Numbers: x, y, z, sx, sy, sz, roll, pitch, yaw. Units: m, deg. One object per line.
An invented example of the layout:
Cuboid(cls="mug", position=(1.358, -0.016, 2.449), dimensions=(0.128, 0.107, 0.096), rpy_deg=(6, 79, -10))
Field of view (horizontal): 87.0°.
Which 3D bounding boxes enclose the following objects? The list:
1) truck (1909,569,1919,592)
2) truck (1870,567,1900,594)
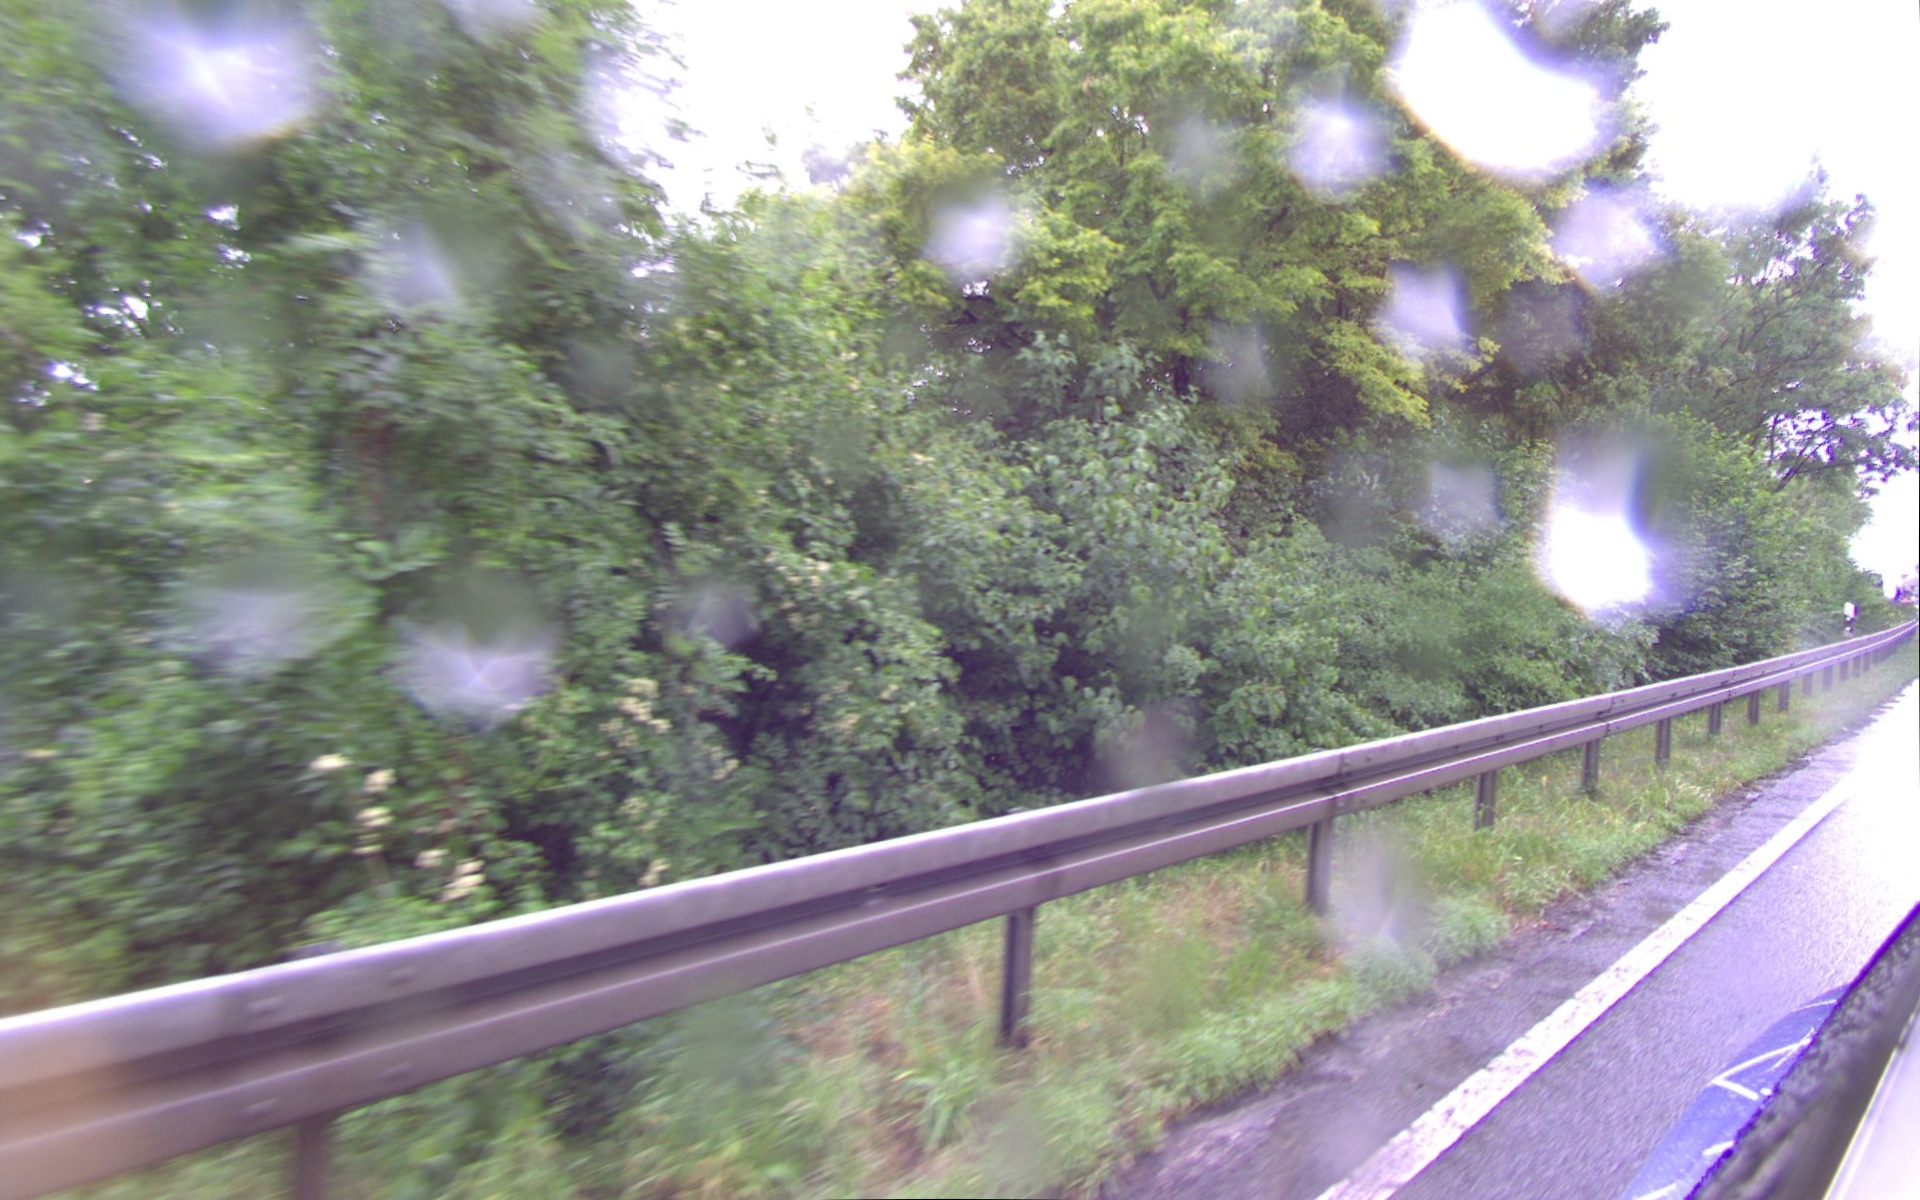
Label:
Cuboid(cls="truck", position=(126.155, -2.526, 132.081), dimensions=(2.417, 3.037, 6.855), rpy_deg=(0, 0, 36))
Cuboid(cls="truck", position=(148.005, -3.071, 162.019), dimensions=(2.466, 4.131, 7.477), rpy_deg=(0, 0, 35))
